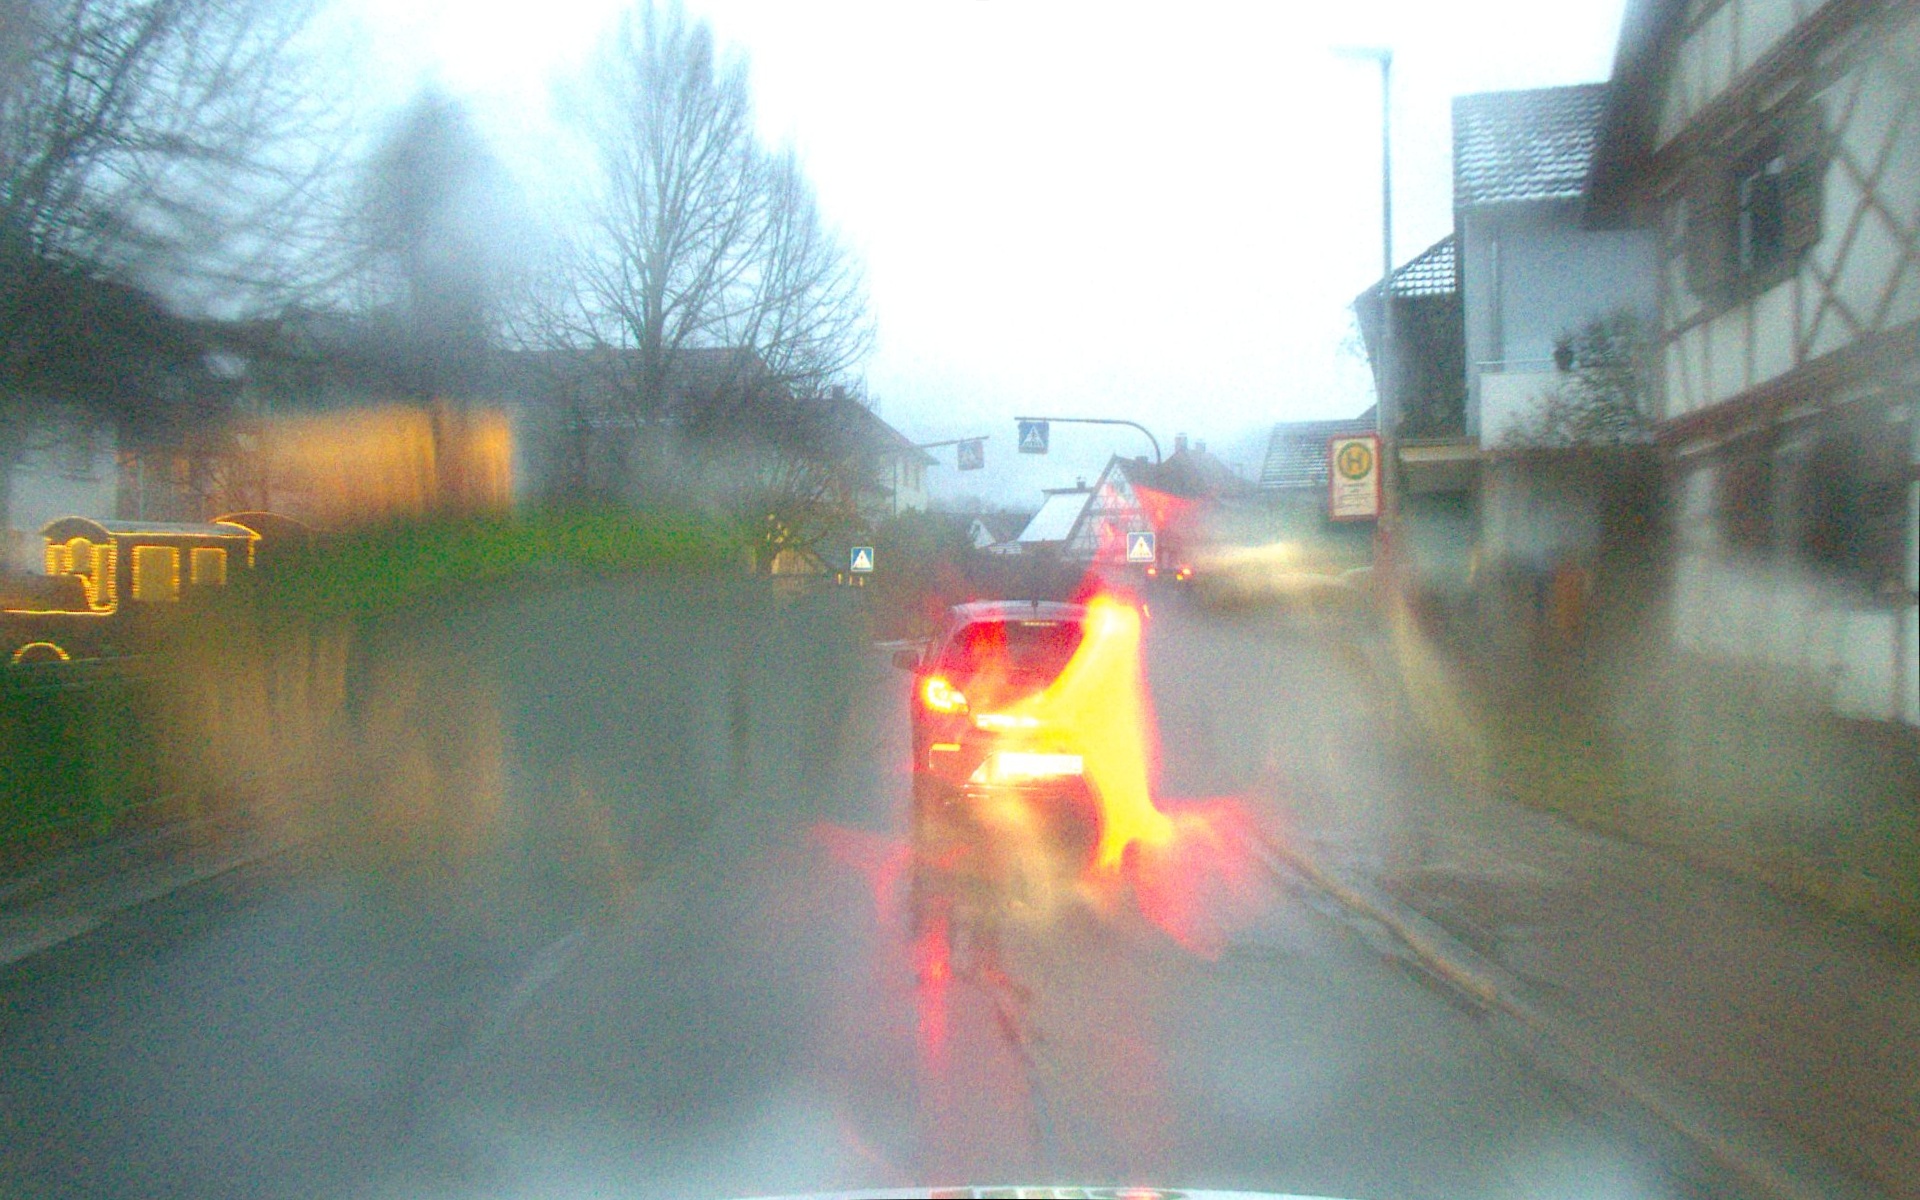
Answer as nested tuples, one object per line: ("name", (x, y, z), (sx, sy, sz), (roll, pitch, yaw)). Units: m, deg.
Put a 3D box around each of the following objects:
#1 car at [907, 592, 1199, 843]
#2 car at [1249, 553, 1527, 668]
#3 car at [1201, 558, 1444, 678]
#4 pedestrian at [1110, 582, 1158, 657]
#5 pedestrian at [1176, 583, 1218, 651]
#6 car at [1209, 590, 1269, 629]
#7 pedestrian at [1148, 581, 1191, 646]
("car", (0.601, 0.706, 12.069), (1.758, 1.502, 4.000), (1, 0, 1))
("car", (8.042, 0.201, 31.369), (4.874, 1.922, 1.938), (-2, 0, 13))
("car", (6.273, 0.326, 28.998), (3.956, 1.875, 1.865), (-2, -1, 9))
("pedestrian", (4.287, 0.477, 40.657), (0.861, 1.765, 0.955), (-4, -1, 21))
("pedestrian", (6.371, 0.442, 44.505), (0.831, 1.763, 0.972), (-4, -1, 21))
("car", (12.551, 0.421, 74.202), (1.810, 1.665, 4.336), (1, 0, 21))
("pedestrian", (5.684, 0.360, 44.773), (0.849, 1.696, 0.992), (-4, -1, 21))
